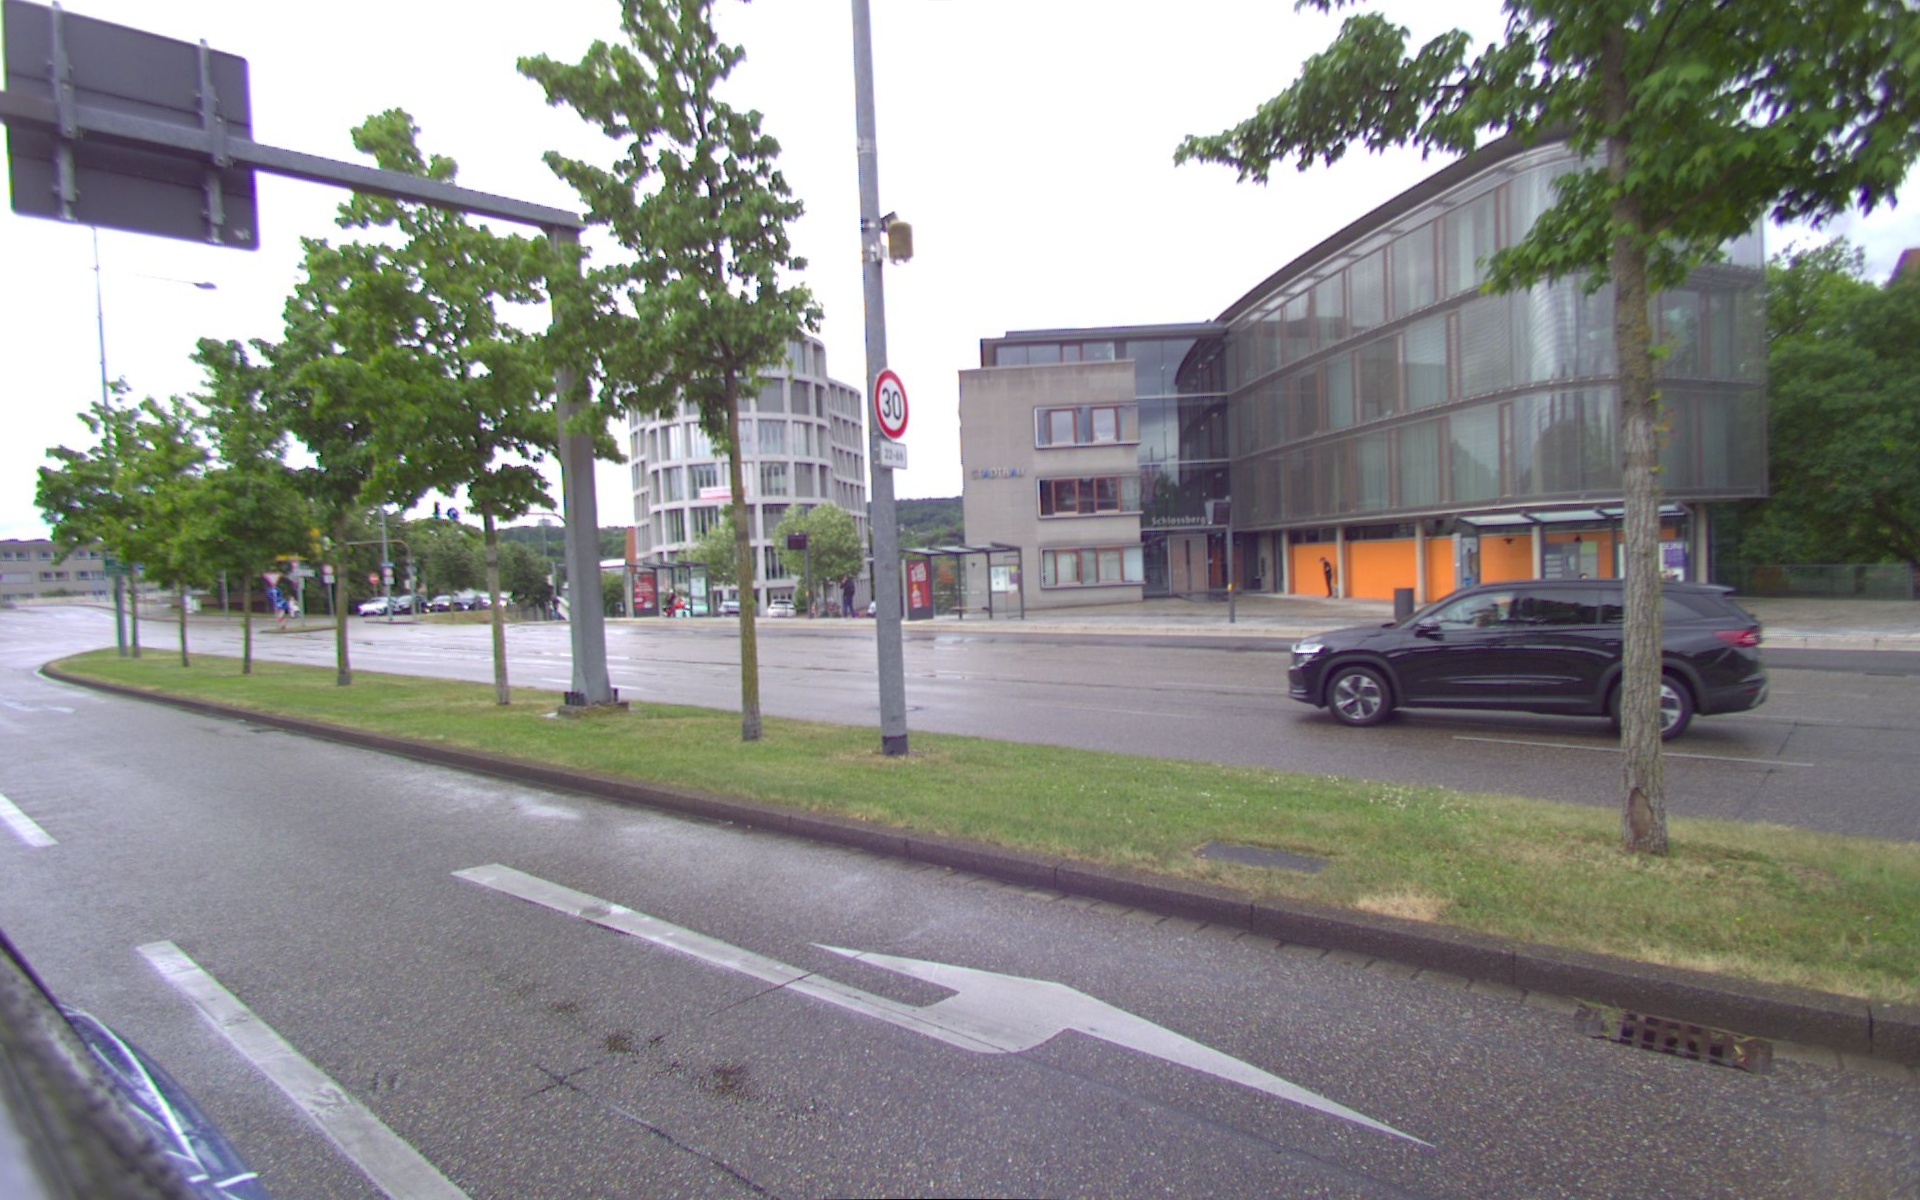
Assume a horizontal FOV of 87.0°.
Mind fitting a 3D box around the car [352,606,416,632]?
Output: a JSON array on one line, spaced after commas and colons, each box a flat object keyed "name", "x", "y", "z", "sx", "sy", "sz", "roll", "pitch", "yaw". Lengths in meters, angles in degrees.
[{"name": "car", "x": -43.539, "y": 1.411, "z": 76.605, "sx": 2.164, "sy": 1.725, "sz": 4.919, "roll": -1, "pitch": 0, "yaw": -3}]

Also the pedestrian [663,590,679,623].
[{"name": "pedestrian", "x": -14.544, "y": 0.320, "z": 50.913, "sx": 0.535, "sy": 1.647, "sz": 0.514, "roll": -1, "pitch": 0, "yaw": 41}]

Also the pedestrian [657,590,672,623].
[{"name": "pedestrian", "x": -14.715, "y": 0.325, "z": 50.345, "sx": 0.501, "sy": 1.647, "sz": 0.497, "roll": -1, "pitch": 0, "yaw": 41}]

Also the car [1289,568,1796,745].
[{"name": "car", "x": 6.265, "y": 0.550, "z": 11.388, "sx": 4.584, "sy": 1.652, "sz": 1.808, "roll": -1, "pitch": 0, "yaw": 32}]

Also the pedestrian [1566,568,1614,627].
[{"name": "pedestrian", "x": 14.618, "y": -0.047, "z": 23.486, "sx": 0.790, "sy": 1.334, "sz": 0.793, "roll": -1, "pitch": 0, "yaw": 42}]

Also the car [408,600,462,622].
[{"name": "car", "x": -44.257, "y": 0.933, "z": 85.432, "sx": 2.164, "sy": 1.725, "sz": 4.919, "roll": -1, "pitch": 0, "yaw": -3}]

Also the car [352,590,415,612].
[{"name": "car", "x": -57.311, "y": 0.097, "z": 100.722, "sx": 4.963, "sy": 2.029, "sz": 2.311, "roll": -1, "pitch": 0, "yaw": 0}]

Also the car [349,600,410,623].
[{"name": "car", "x": -46.558, "y": 0.897, "z": 81.283, "sx": 2.164, "sy": 1.725, "sz": 4.919, "roll": -1, "pitch": 0, "yaw": -2}]

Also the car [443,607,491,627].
[{"name": "car", "x": -45.260, "y": 1.530, "z": 93.017, "sx": 2.164, "sy": 1.725, "sz": 4.920, "roll": -1, "pitch": 0, "yaw": -3}]

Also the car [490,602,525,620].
[{"name": "car", "x": -47.639, "y": 1.143, "z": 106.472, "sx": 2.161, "sy": 1.725, "sz": 4.926, "roll": -2, "pitch": 0, "yaw": -38}]

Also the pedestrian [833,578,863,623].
[{"name": "pedestrian", "x": -4.552, "y": 0.013, "z": 41.172, "sx": 0.964, "sy": 1.773, "sz": 0.783, "roll": -1, "pitch": 0, "yaw": 12}]

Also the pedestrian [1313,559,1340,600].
[{"name": "pedestrian", "x": 15.183, "y": -0.834, "z": 41.905, "sx": 0.697, "sy": 1.666, "sz": 0.852, "roll": -1, "pitch": 0, "yaw": -6}]

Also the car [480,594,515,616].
[{"name": "car", "x": -45.696, "y": 0.501, "z": 100.032, "sx": 1.969, "sy": 2.029, "sz": 4.005, "roll": -1, "pitch": -1, "yaw": -6}]
